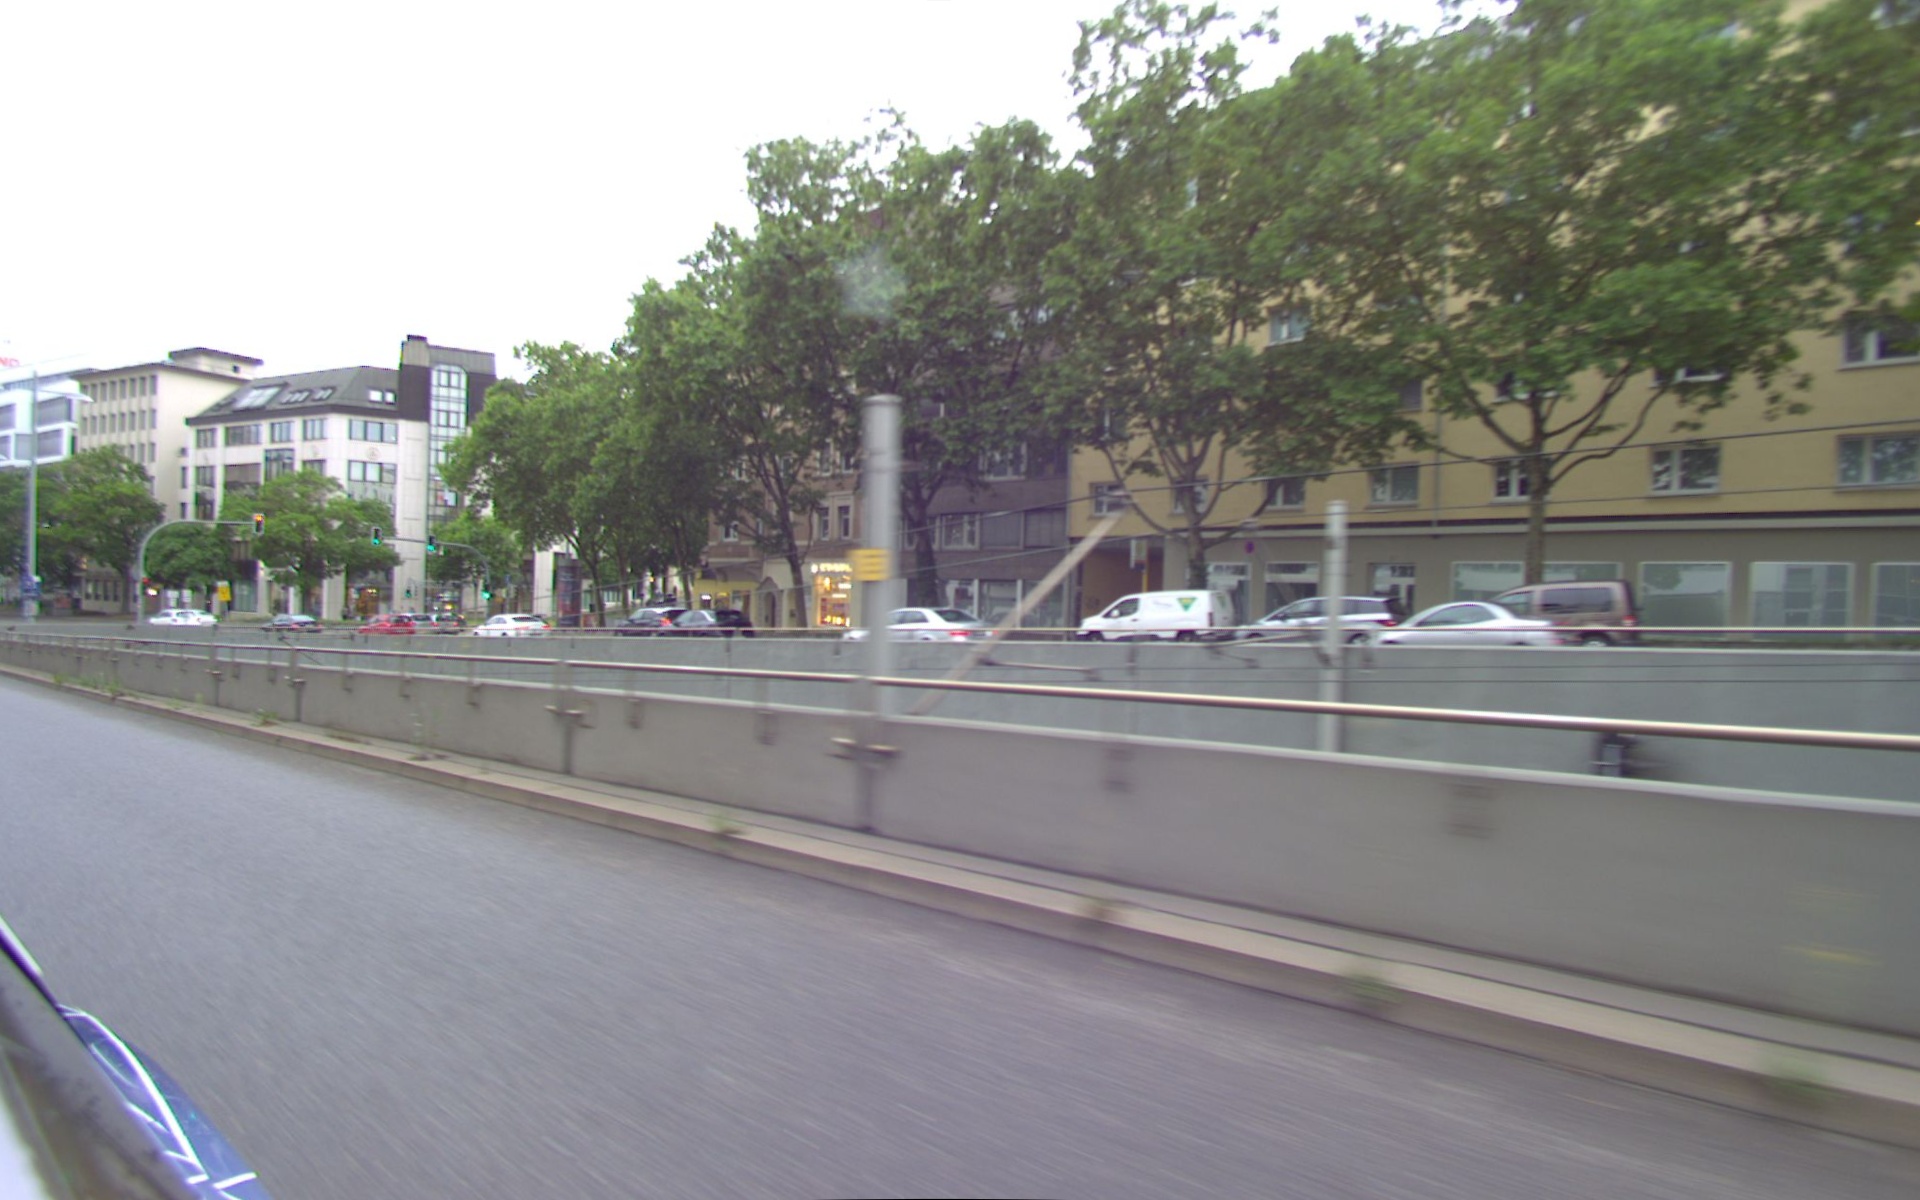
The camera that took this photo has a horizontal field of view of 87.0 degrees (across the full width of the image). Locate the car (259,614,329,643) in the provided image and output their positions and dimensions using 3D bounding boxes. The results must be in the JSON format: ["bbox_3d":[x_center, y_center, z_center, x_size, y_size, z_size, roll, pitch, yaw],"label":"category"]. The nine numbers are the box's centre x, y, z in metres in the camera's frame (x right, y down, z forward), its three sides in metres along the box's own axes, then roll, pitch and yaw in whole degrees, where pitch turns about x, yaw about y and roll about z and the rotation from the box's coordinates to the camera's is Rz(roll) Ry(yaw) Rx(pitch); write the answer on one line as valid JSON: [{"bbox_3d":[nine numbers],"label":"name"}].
[{"bbox_3d":[-38.441,1.616,58.376,4.825,1.569,1.779,0,0,35],"label":"car"}]

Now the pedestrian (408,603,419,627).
[{"bbox_3d":[-42.848,1.171,79.362,0.582,1.822,0.675,-1,1,-43],"label":"pedestrian"}]

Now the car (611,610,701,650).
[{"bbox_3d":[-12.727,1.243,42.229,4.015,1.592,1.775,-2,-1,42],"label":"car"}]

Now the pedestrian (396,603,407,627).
[{"bbox_3d":[-43.544,1.184,78.905,0.582,1.822,0.675,-1,1,-43],"label":"pedestrian"}]

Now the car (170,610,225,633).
[{"bbox_3d":[-54.296,1.517,72.078,3.986,1.522,1.781,0,0,31],"label":"car"}]

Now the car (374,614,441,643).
[{"bbox_3d":[-31.512,1.600,57.672,3.990,1.522,1.779,0,0,35],"label":"car"}]

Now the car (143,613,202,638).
[{"bbox_3d":[-52.134,1.677,66.974,3.985,1.573,1.781,0,0,31],"label":"car"}]

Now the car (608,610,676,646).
[{"bbox_3d":[-14.892,1.286,47.246,1.674,1.562,4.070,-1,-1,-38],"label":"car"}]

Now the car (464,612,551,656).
[{"bbox_3d":[-19.816,1.425,44.214,4.731,1.783,1.775,0,0,43],"label":"car"}]

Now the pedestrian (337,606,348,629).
[{"bbox_3d":[-50.527,1.428,82.856,0.524,1.798,0.598,0,1,33],"label":"pedestrian"}]

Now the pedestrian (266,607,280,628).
[{"bbox_3d":[-58.937,1.492,86.833,0.614,1.798,0.826,0,1,32],"label":"pedestrian"}]

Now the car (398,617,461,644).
[{"bbox_3d":[-32.473,1.863,61.956,3.933,1.521,1.779,0,1,35],"label":"car"}]

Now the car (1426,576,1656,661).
[{"bbox_3d":[12.929,0.411,22.637,4.202,1.742,1.776,-2,-1,40],"label":"car"}]

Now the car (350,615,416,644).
[{"bbox_3d":[-29.926,1.493,52.447,3.874,1.411,1.570,0,0,37],"label":"car"}]

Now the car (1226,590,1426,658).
[{"bbox_3d":[9.353,0.608,26.100,4.470,1.595,1.857,-2,-1,41],"label":"car"}]

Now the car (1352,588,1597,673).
[{"bbox_3d":[10.242,0.579,20.314,4.018,1.522,1.826,-2,-1,44],"label":"car"}]

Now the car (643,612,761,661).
[{"bbox_3d":[-8.730,1.185,34.086,4.344,1.522,1.775,0,0,43],"label":"car"}]

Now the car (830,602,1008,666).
[{"bbox_3d":[-1.168,0.864,26.739,4.820,1.522,1.826,-2,-1,43],"label":"car"}]

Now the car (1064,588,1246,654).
[{"bbox_3d":[5.634,0.613,29.595,4.894,1.778,1.859,-2,-1,38],"label":"car"}]
